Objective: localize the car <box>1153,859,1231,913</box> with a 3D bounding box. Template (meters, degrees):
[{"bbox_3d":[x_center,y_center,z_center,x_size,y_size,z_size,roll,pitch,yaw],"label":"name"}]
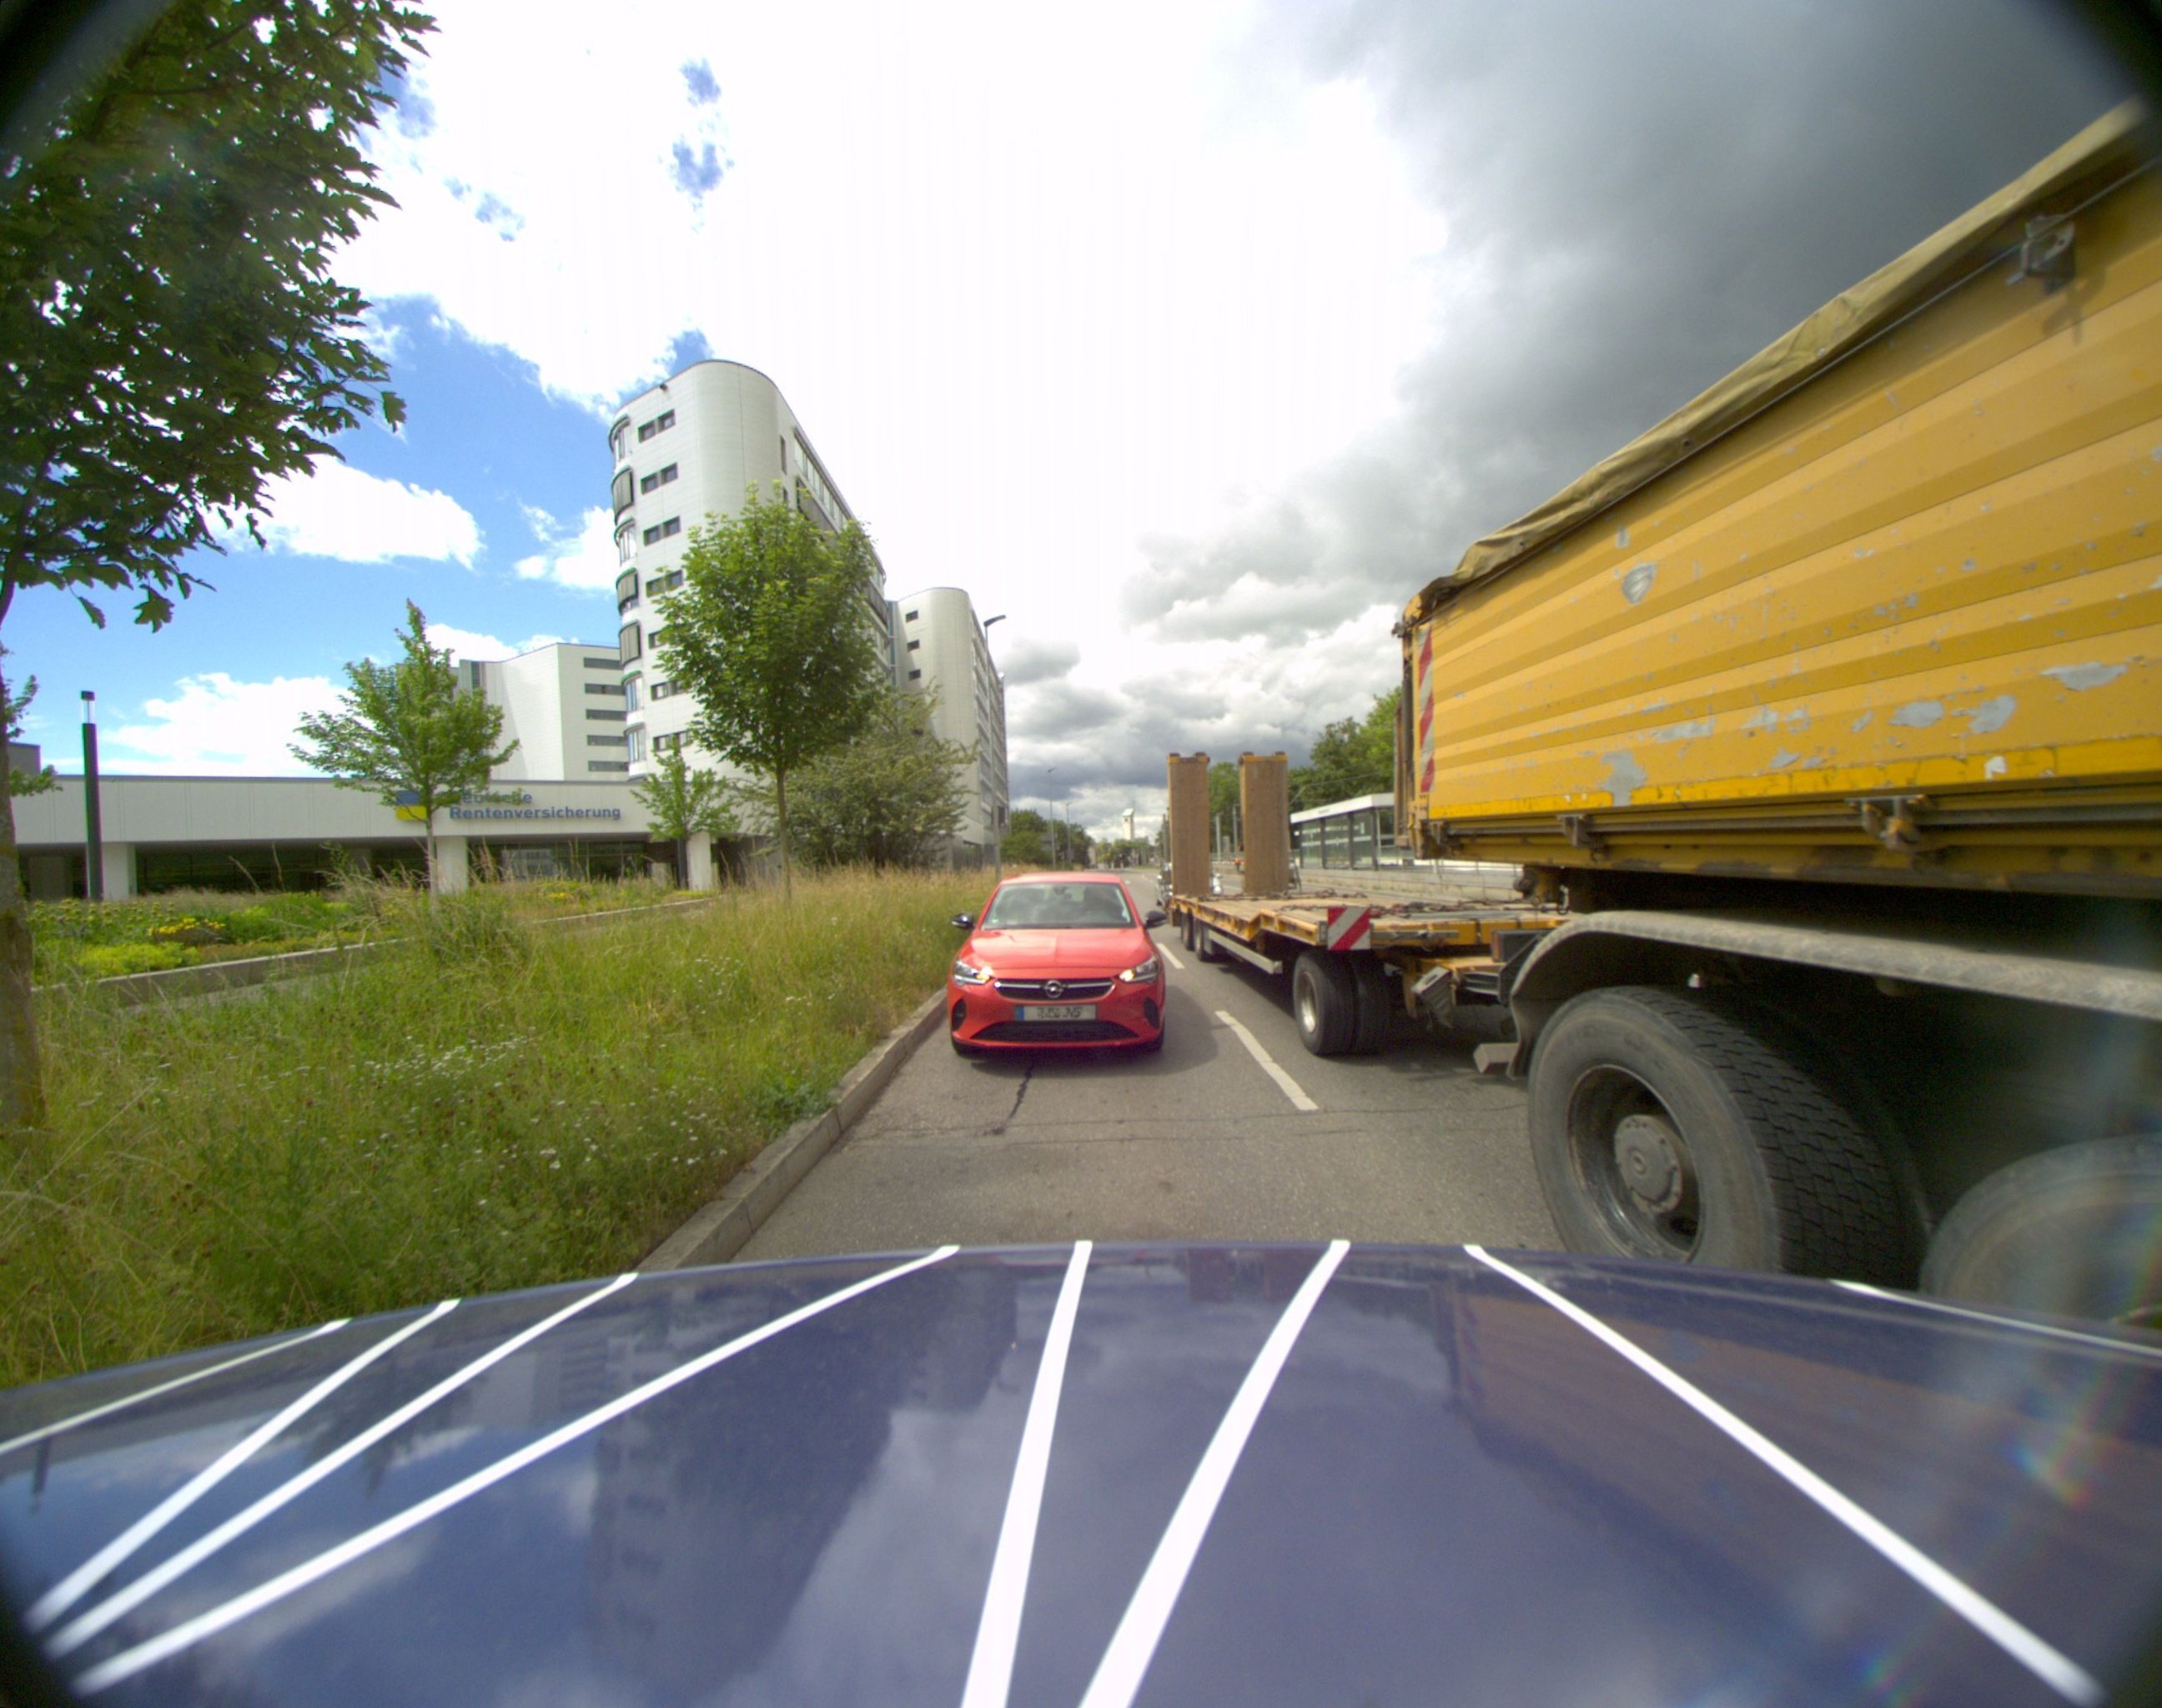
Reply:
[{"bbox_3d":[3.222,0.892,22.679,1.784,1.408,3.785,-2,0,1],"label":"car"}]

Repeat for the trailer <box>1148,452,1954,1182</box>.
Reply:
[{"bbox_3d":[2.933,-0.166,9.417,3.057,3.676,10.965,-2,0,0],"label":"trailer"}]

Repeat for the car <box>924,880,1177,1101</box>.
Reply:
[{"bbox_3d":[-0.184,1.021,7.147,1.749,1.408,3.676,-1,0,1],"label":"car"}]

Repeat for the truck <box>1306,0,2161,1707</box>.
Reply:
[{"bbox_3d":[2.825,-0.051,0.116,3.057,3.374,8.006,-2,0,0],"label":"truck"}]
